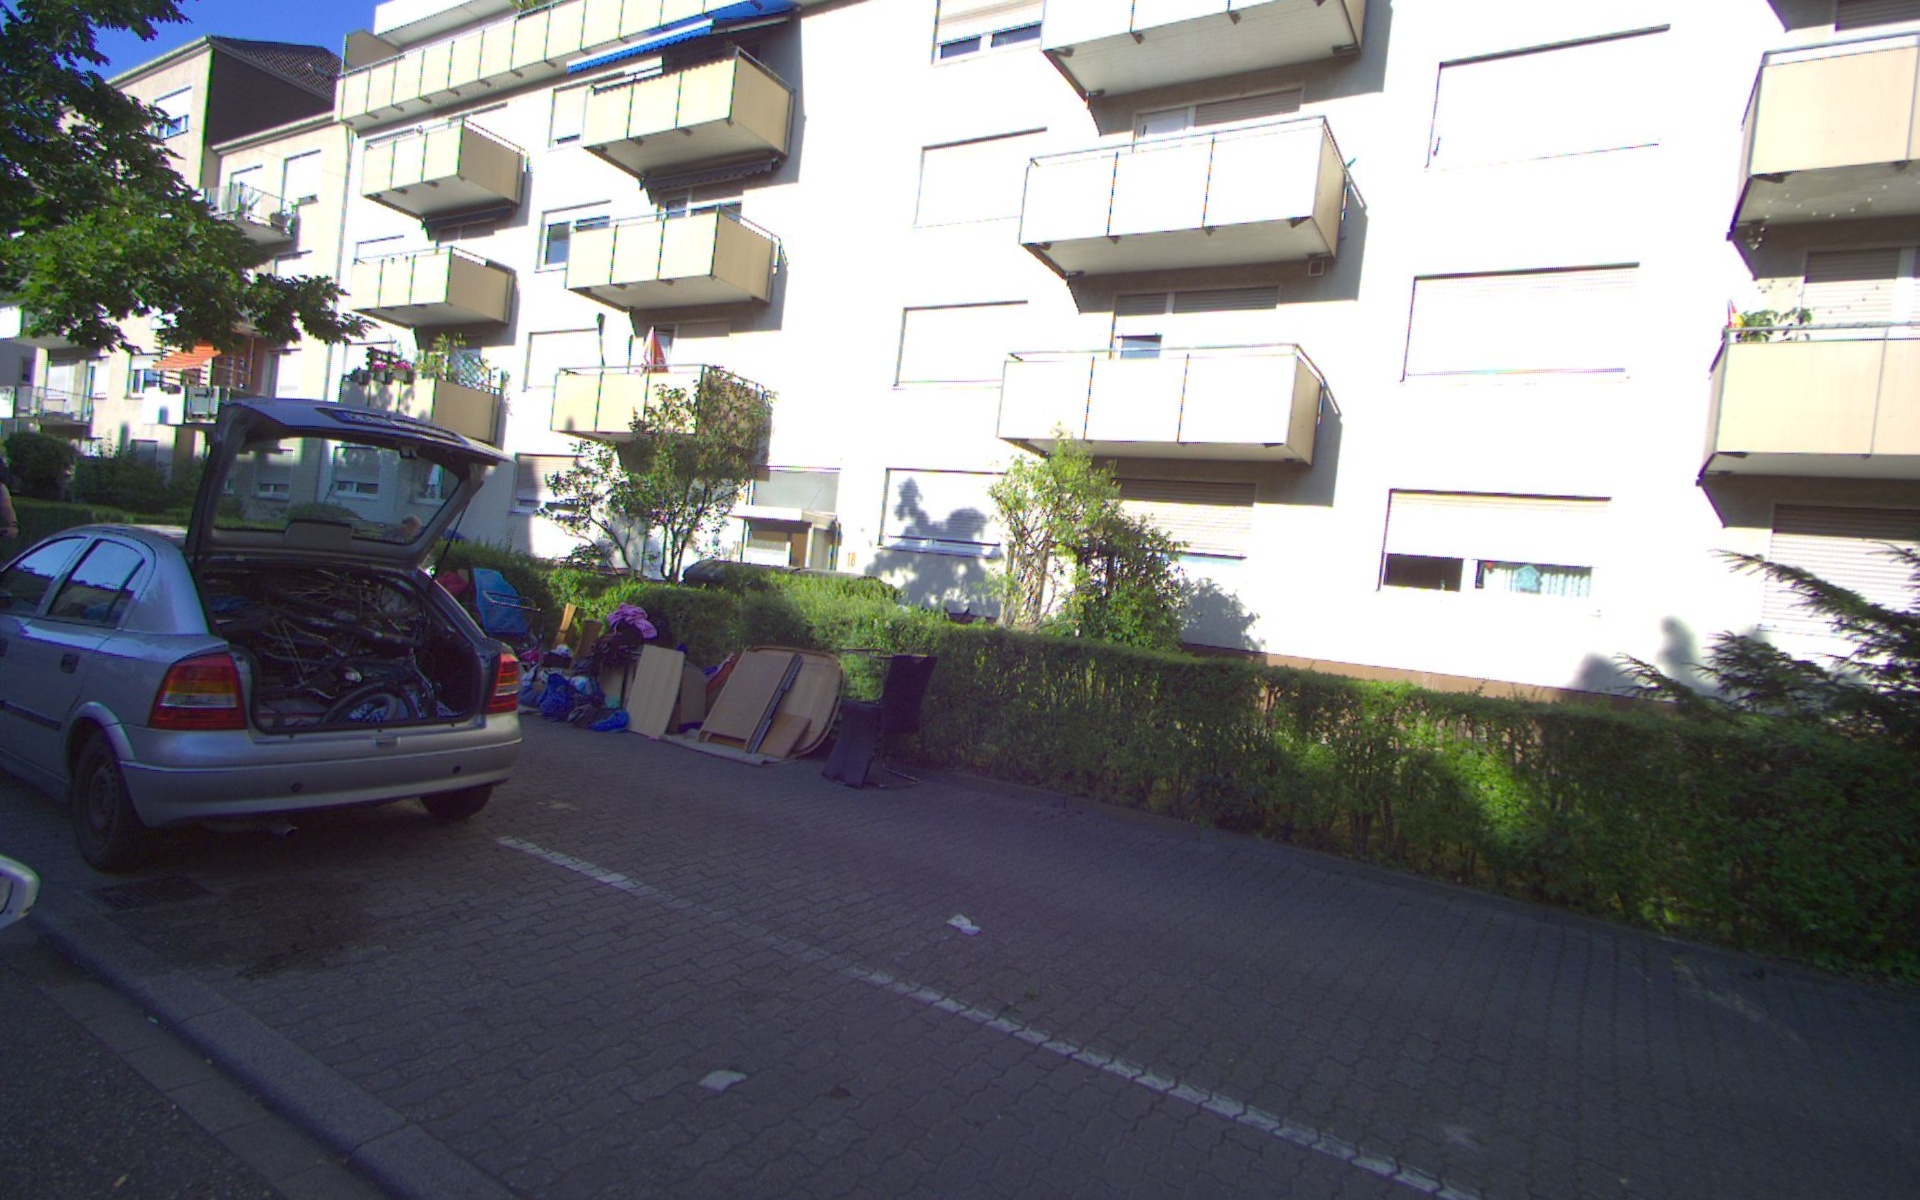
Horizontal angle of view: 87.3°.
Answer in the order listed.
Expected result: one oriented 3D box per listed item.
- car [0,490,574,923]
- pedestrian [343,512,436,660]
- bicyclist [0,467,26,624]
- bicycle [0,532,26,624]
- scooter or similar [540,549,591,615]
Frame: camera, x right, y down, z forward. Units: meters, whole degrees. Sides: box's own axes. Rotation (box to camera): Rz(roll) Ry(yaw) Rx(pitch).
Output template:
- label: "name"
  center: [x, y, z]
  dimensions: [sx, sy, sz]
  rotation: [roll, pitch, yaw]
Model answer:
- label: "car"
  center: [-4.233, 0.263, 5.483]
  dimensions: [4.197, 1.500, 1.708]
  rotation: [7, 2, 32]
- label: "pedestrian"
  center: [-6.837, -0.166, 12.097]
  dimensions: [0.747, 1.660, 0.692]
  rotation: [6, 1, -22]
- label: "bicyclist"
  center: [-11.587, -0.680, 11.820]
  dimensions: [0.838, 1.811, 0.581]
  rotation: [7, 1, 32]
- label: "bicycle"
  center: [-11.638, -0.329, 11.790]
  dimensions: [1.801, 0.999, 0.516]
  rotation: [7, 1, 32]
- label: "scooter or similar"
  center: [-8.255, -0.374, 21.070]
  dimensions: [0.658, 1.288, 0.615]
  rotation: [7, 1, 32]
